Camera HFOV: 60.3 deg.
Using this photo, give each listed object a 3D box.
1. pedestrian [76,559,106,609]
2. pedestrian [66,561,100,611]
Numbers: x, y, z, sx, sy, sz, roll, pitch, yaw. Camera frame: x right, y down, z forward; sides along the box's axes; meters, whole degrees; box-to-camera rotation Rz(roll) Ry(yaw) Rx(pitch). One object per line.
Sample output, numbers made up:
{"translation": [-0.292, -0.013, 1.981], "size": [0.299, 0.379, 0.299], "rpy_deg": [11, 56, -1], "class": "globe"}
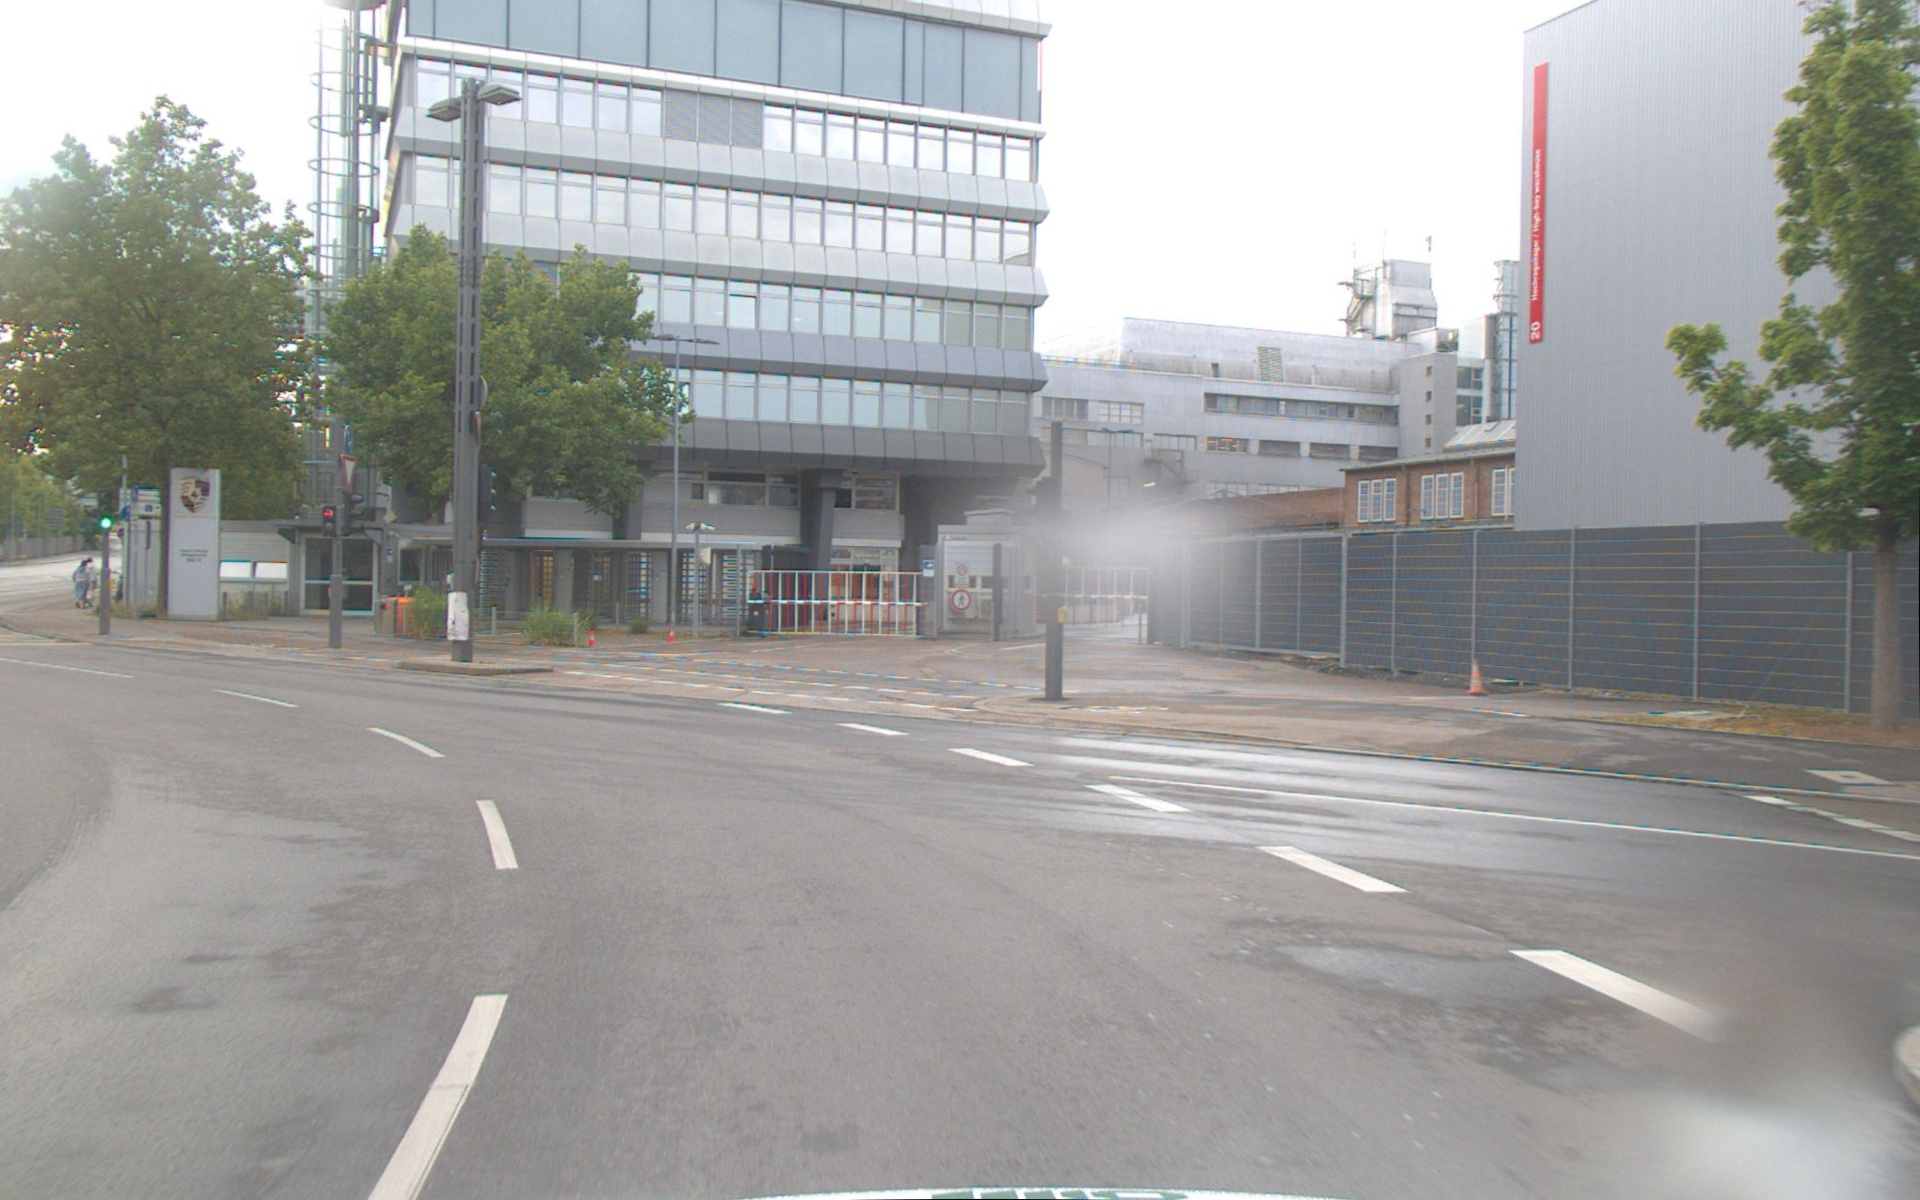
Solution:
{"translation": [-28.662, -0.540, 54.561], "size": [0.698, 1.620, 0.836], "rpy_deg": [1, 1, -18], "class": "pedestrian"}
{"translation": [-27.937, -0.448, 52.694], "size": [0.818, 1.547, 0.837], "rpy_deg": [1, 1, -18], "class": "pedestrian"}
